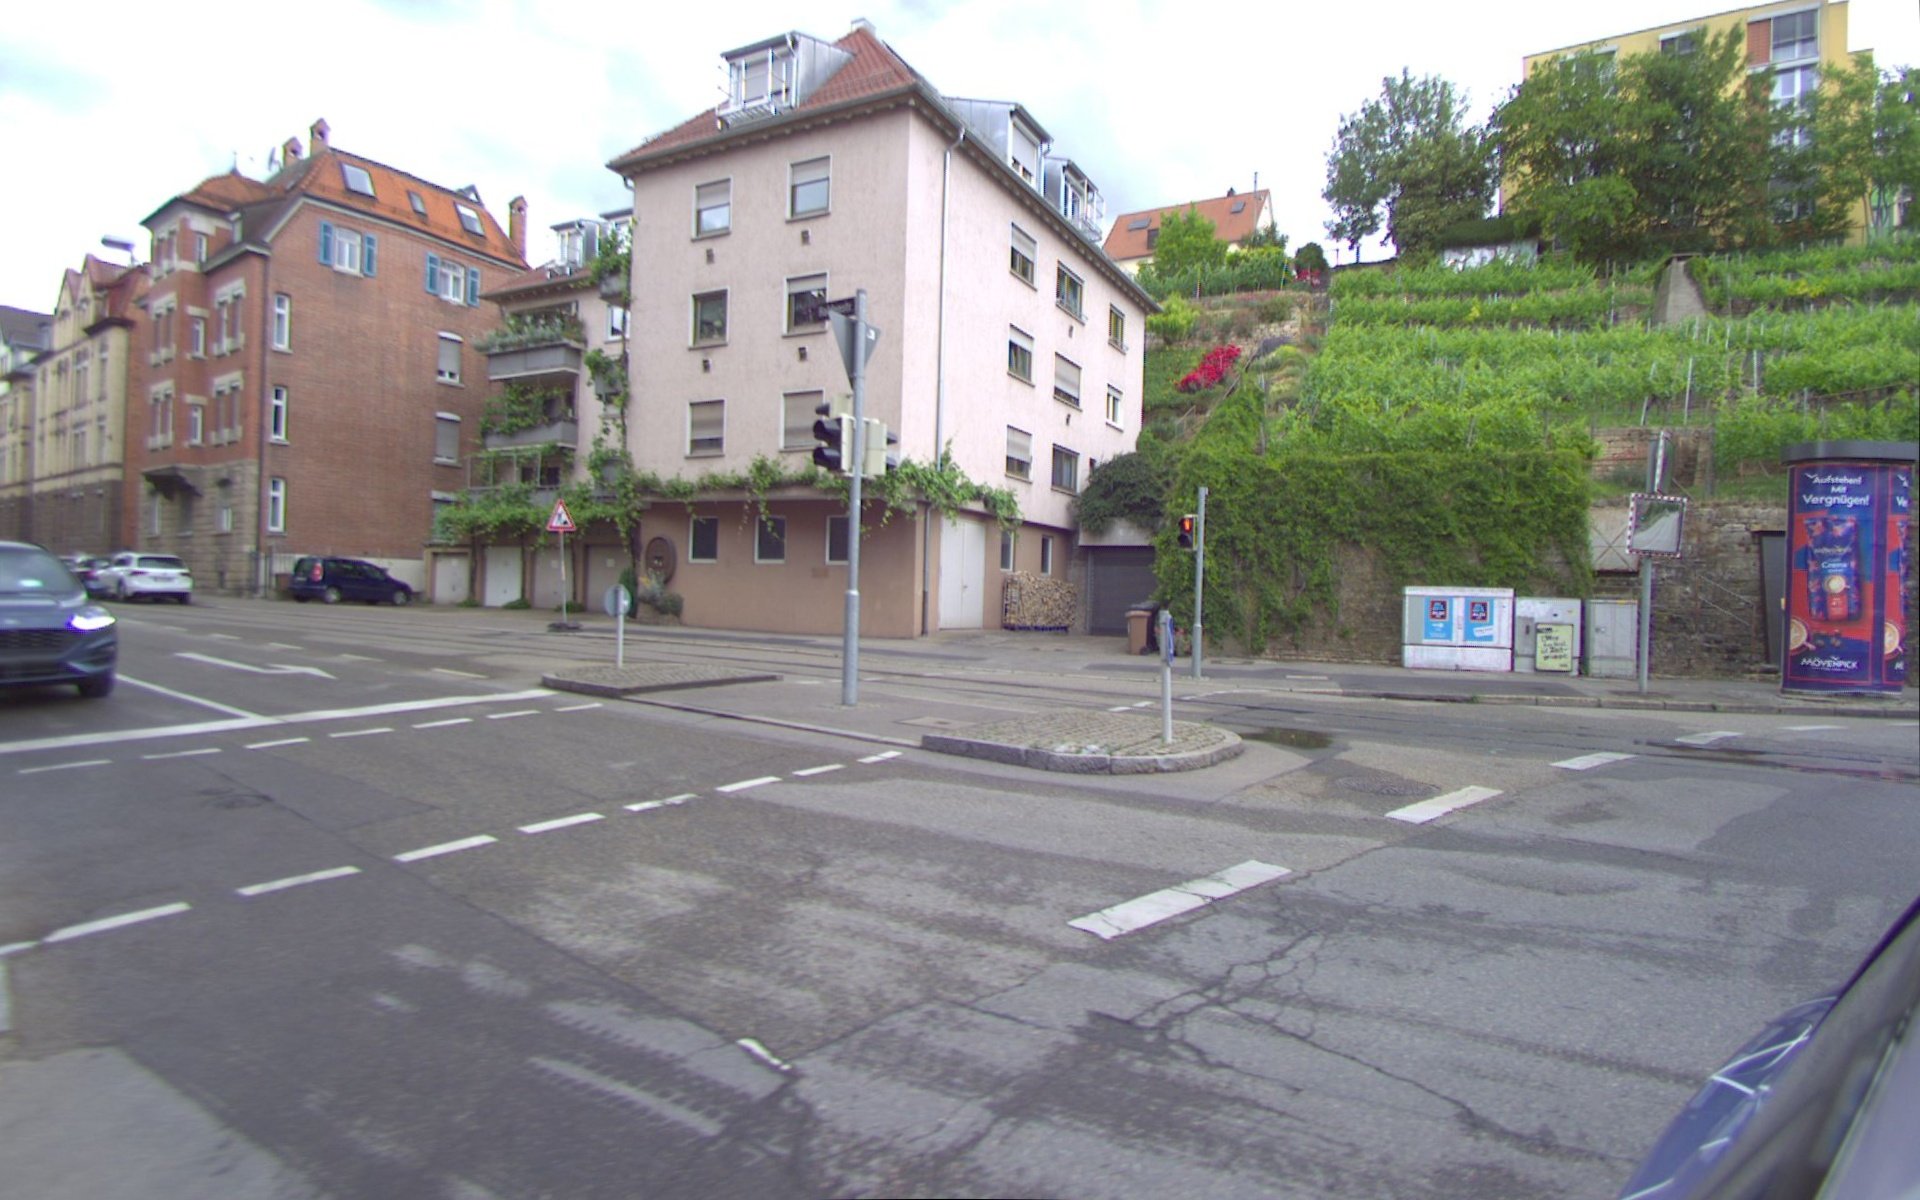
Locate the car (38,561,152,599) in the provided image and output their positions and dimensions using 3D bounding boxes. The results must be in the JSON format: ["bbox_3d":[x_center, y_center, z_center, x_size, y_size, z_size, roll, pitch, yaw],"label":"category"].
[{"bbox_3d":[-31.355,-0.728,36.690,3.967,1.304,1.978,2,1,31],"label":"car"}]

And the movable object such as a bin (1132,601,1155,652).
[{"bbox_3d":[3.999,0.569,22.022,0.465,1.096,0.406,0,0,13],"label":"movable object such as a bin"}]

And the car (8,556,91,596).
[{"bbox_3d":[-36.041,-0.982,40.053,3.979,1.480,1.791,2,2,38],"label":"car"}]

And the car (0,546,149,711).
[{"bbox_3d":[-10.618,0.190,10.919,4.262,1.533,1.974,3,3,37],"label":"car"}]

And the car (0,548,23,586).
[{"bbox_3d":[-45.172,-1.588,46.932,3.802,1.685,1.941,3,0,39],"label":"car"}]

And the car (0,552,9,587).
[{"bbox_3d":[-52.900,-1.665,54.458,3.980,1.861,1.972,1,1,39],"label":"car"}]

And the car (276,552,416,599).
[{"bbox_3d":[-21.527,-0.866,35.629,1.852,1.571,3.890,1,1,25],"label":"car"}]

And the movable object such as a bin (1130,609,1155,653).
[{"bbox_3d":[3.887,0.658,21.552,0.487,0.923,0.343,-1,-1,13],"label":"movable object such as a bin"}]

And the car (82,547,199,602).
[{"bbox_3d":[-27.262,-0.858,33.638,3.971,1.739,1.933,2,2,33],"label":"car"}]
